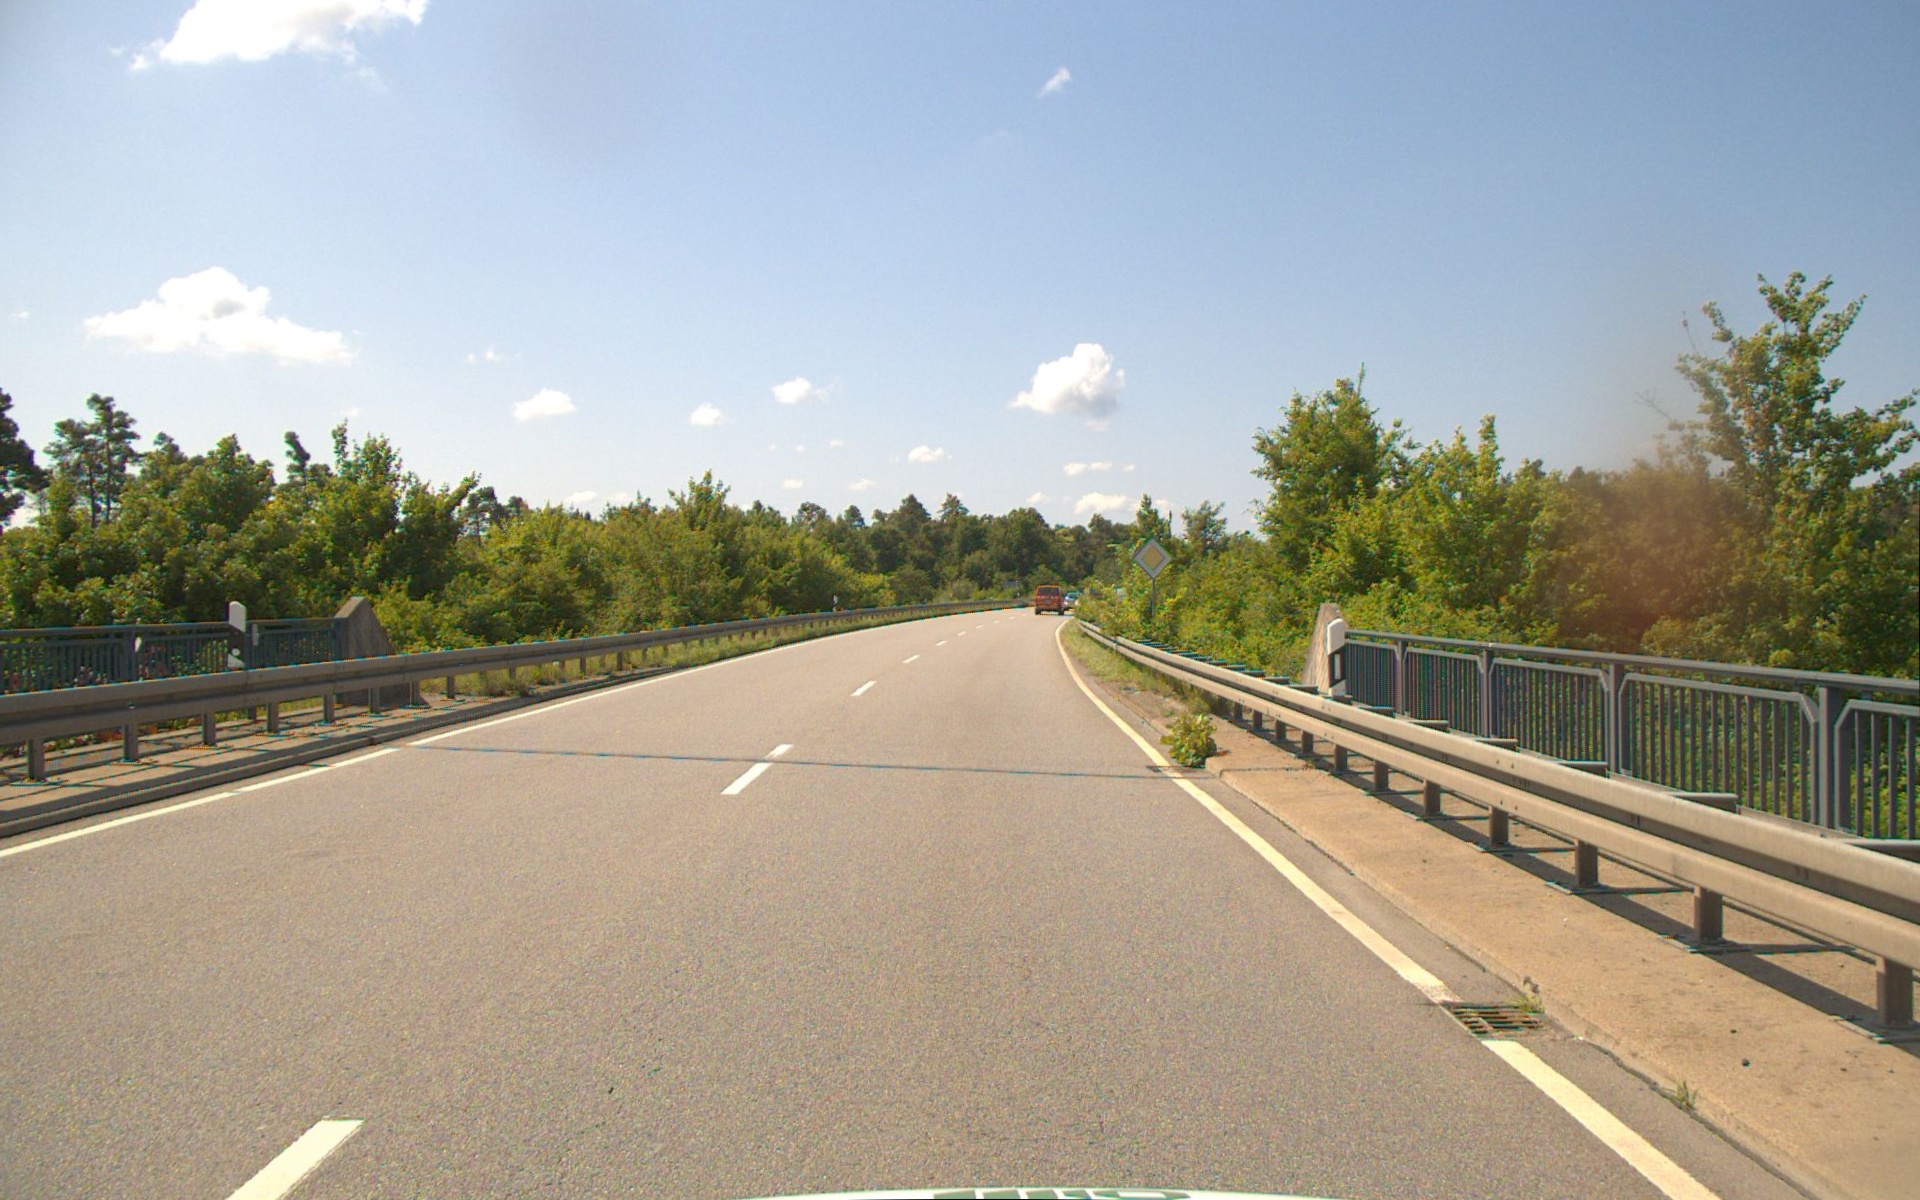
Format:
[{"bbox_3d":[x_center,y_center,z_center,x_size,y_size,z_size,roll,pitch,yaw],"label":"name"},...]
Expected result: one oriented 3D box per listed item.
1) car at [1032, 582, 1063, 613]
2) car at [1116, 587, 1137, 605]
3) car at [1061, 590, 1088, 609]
[{"bbox_3d":[6.005,-0.154,113.956,2.034,2.028,5.112,1,0,2],"label":"car"},{"bbox_3d":[19.645,-0.453,195.328,2.139,1.989,5.806,2,0,3],"label":"car"},{"bbox_3d":[9.434,-0.018,136.507,1.965,1.520,4.239,1,0,2],"label":"car"}]
